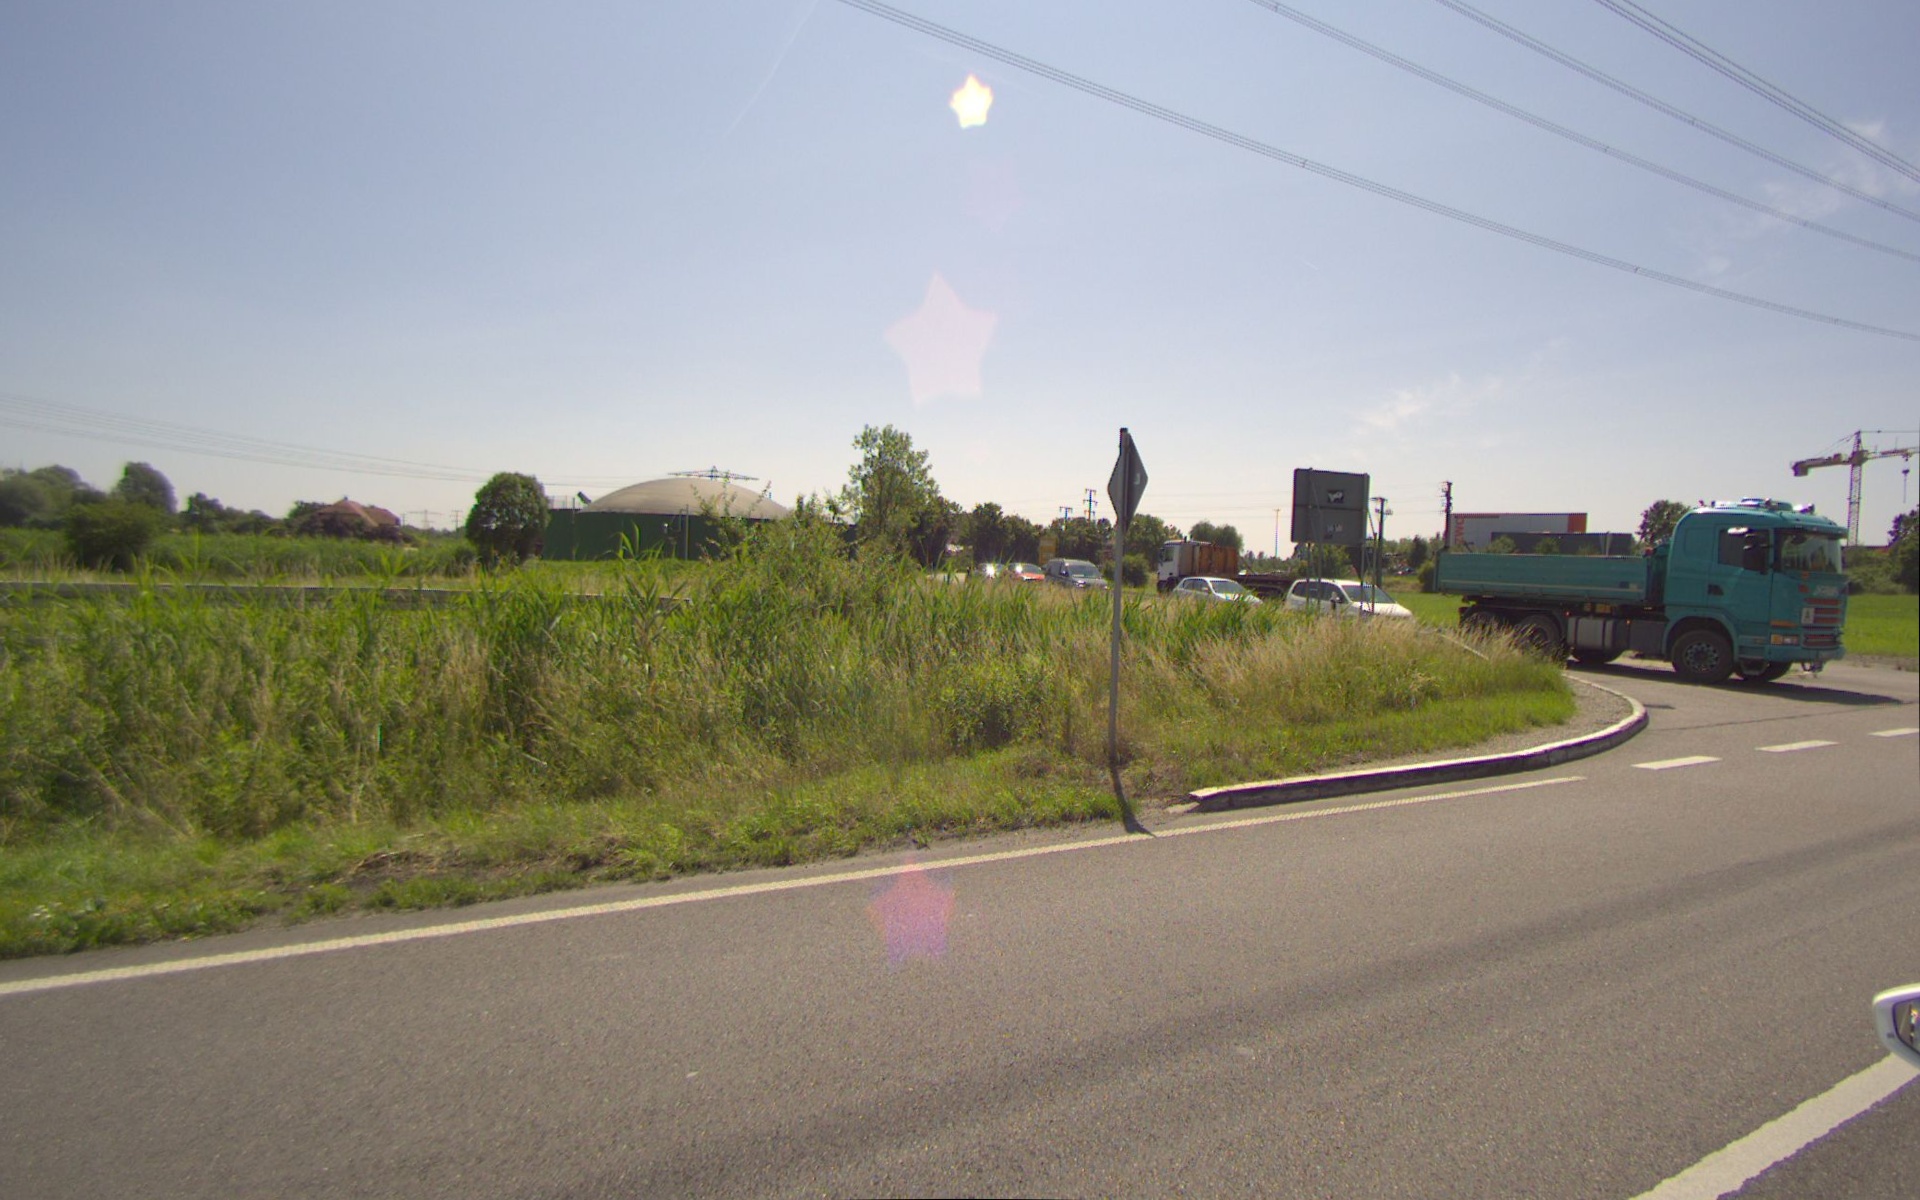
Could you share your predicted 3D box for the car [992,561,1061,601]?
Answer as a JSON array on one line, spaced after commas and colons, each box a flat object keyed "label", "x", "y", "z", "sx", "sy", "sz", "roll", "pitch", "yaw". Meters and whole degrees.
[{"label": "car", "x": 3.318, "y": -1.023, "z": 51.150, "sx": 1.886, "sy": 1.874, "sz": 4.463, "roll": 1, "pitch": 2, "yaw": -19}]

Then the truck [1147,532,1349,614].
[{"label": "truck", "x": 12.769, "y": -1.196, "z": 45.775, "sx": 2.795, "sy": 3.332, "sz": 9.624, "roll": 0, "pitch": 1, "yaw": -29}]

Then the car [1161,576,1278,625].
[{"label": "car", "x": 8.802, "y": -0.011, "z": 34.472, "sx": 1.691, "sy": 1.490, "sz": 4.427, "roll": 1, "pitch": 2, "yaw": -19}]

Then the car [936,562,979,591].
[{"label": "car", "x": -0.190, "y": -1.481, "z": 63.290, "sx": 1.965, "sy": 1.691, "sz": 3.991, "roll": 1, "pitch": 1, "yaw": -12}]

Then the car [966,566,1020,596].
[{"label": "car", "x": 1.802, "y": -1.097, "z": 56.896, "sx": 1.754, "sy": 1.498, "sz": 3.982, "roll": 1, "pitch": 2, "yaw": -19}]

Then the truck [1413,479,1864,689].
[{"label": "truck", "x": 14.314, "y": -0.475, "z": 22.187, "sx": 2.466, "sy": 3.785, "sz": 7.873, "roll": 1, "pitch": 3, "yaw": -27}]

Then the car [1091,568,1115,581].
[{"label": "car", "x": 20.687, "y": -3.688, "z": 145.545, "sx": 1.965, "sy": 1.702, "sz": 3.990, "roll": 3, "pitch": 2, "yaw": 32}]

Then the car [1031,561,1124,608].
[{"label": "car", "x": 5.133, "y": -0.733, "z": 44.666, "sx": 2.057, "sy": 1.893, "sz": 4.927, "roll": 0, "pitch": 3, "yaw": -21}]

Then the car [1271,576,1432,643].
[{"label": "car", "x": 11.036, "y": 0.211, "z": 28.689, "sx": 1.935, "sy": 1.634, "sz": 4.541, "roll": 1, "pitch": 2, "yaw": -15}]
